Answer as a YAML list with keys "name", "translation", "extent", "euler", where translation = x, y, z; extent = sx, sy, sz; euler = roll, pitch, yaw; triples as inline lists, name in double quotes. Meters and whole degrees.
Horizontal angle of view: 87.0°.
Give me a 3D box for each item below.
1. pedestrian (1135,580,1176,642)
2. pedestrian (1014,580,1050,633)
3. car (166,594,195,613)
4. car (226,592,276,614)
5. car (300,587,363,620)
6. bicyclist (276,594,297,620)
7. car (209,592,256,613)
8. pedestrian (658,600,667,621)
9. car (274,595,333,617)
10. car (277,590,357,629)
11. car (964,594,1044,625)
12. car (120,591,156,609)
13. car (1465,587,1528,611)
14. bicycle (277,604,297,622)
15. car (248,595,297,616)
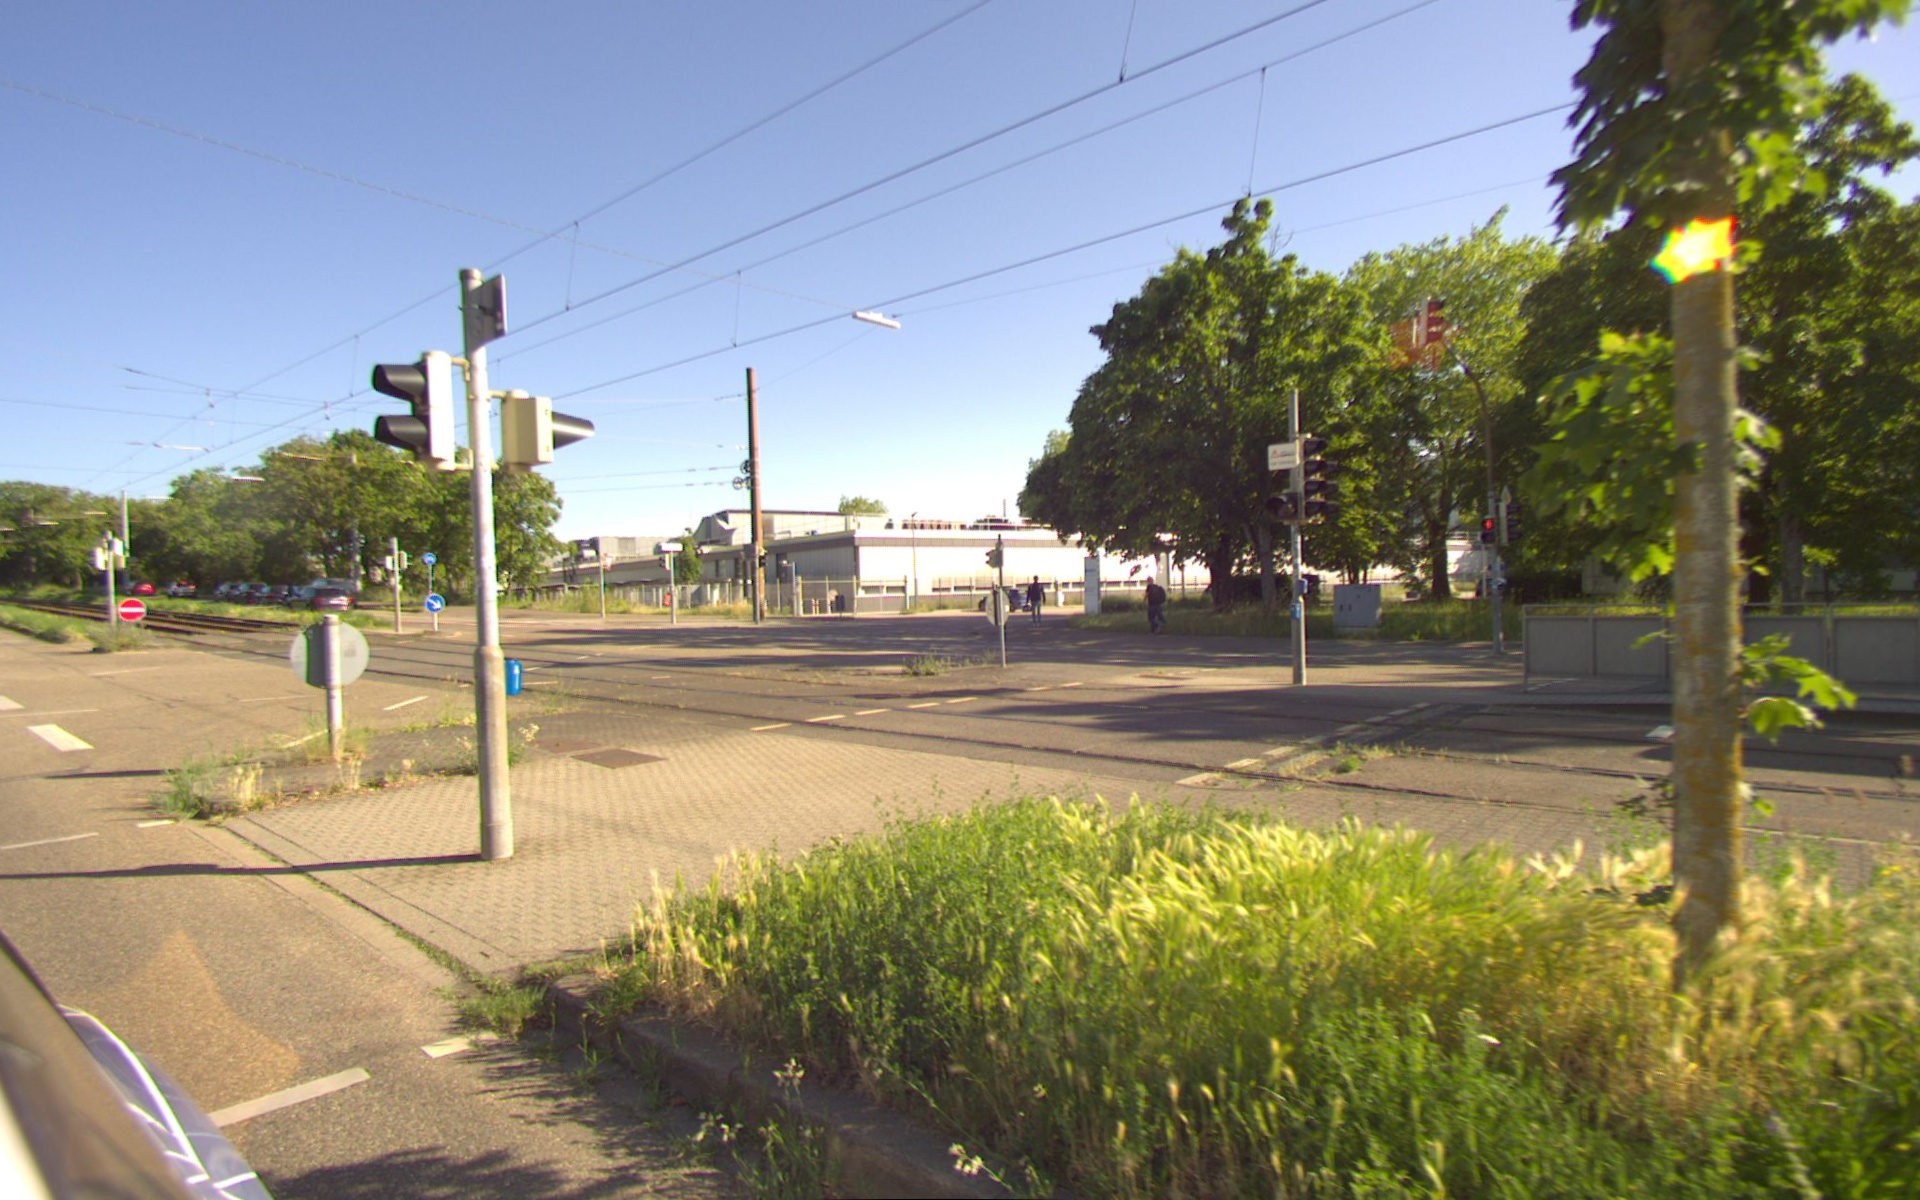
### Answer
- name: "pedestrian"
  translation: [5.664, 0.320, 29.301]
  extent: [0.748, 1.747, 0.940]
  euler: [-1, 0, -19]
- name: "pedestrian"
  translation: [2.547, 0.227, 35.725]
  extent: [0.937, 1.801, 0.823]
  euler: [-1, 0, -34]
- name: "car"
  translation: [-70.673, 0.289, 91.757]
  extent: [1.832, 1.569, 4.163]
  euler: [-3, 2, -41]
- name: "car"
  translation: [-53.340, 0.219, 76.114]
  extent: [4.616, 1.599, 2.102]
  euler: [0, 2, 43]
- name: "car"
  translation: [-39.410, 0.225, 63.428]
  extent: [4.686, 1.948, 2.177]
  euler: [0, 2, 44]
- name: "bicyclist"
  translation: [-42.928, 0.439, 64.505]
  extent: [1.237, 1.605, 0.793]
  euler: [0, 2, 43]
- name: "car"
  translation: [-58.061, 0.192, 80.711]
  extent: [4.559, 1.575, 2.102]
  euler: [0, 2, 42]
- name: "pedestrian"
  translation: [-18.652, 0.634, 63.491]
  extent: [0.435, 1.310, 0.441]
  euler: [-1, 0, 0]
- name: "car"
  translation: [-44.351, 0.399, 68.332]
  extent: [4.614, 1.390, 2.103]
  euler: [0, 2, 41]
- name: "car"
  translation: [-32.058, 0.506, 50.429]
  extent: [4.789, 1.824, 2.072]
  euler: [-2, -2, 41]
- name: "car"
  translation: [2.671, 0.558, 62.764]
  extent: [2.138, 1.762, 5.305]
  euler: [-2, 2, -36]
- name: "car"
  translation: [-83.728, 0.006, 103.089]
  extent: [4.799, 1.746, 2.289]
  euler: [0, 2, 45]
- name: "car"
  translation: [38.416, -0.077, 72.522]
  extent: [1.773, 1.601, 3.624]
  euler: [-2, 1, -40]
- name: "bicycle"
  translation: [-42.898, 0.847, 64.498]
  extent: [1.781, 1.110, 0.689]
  euler: [0, 2, 44]
- name: "car"
  translation: [-49.231, 0.375, 72.463]
  extent: [4.488, 1.436, 1.934]
  euler: [0, 2, 43]
